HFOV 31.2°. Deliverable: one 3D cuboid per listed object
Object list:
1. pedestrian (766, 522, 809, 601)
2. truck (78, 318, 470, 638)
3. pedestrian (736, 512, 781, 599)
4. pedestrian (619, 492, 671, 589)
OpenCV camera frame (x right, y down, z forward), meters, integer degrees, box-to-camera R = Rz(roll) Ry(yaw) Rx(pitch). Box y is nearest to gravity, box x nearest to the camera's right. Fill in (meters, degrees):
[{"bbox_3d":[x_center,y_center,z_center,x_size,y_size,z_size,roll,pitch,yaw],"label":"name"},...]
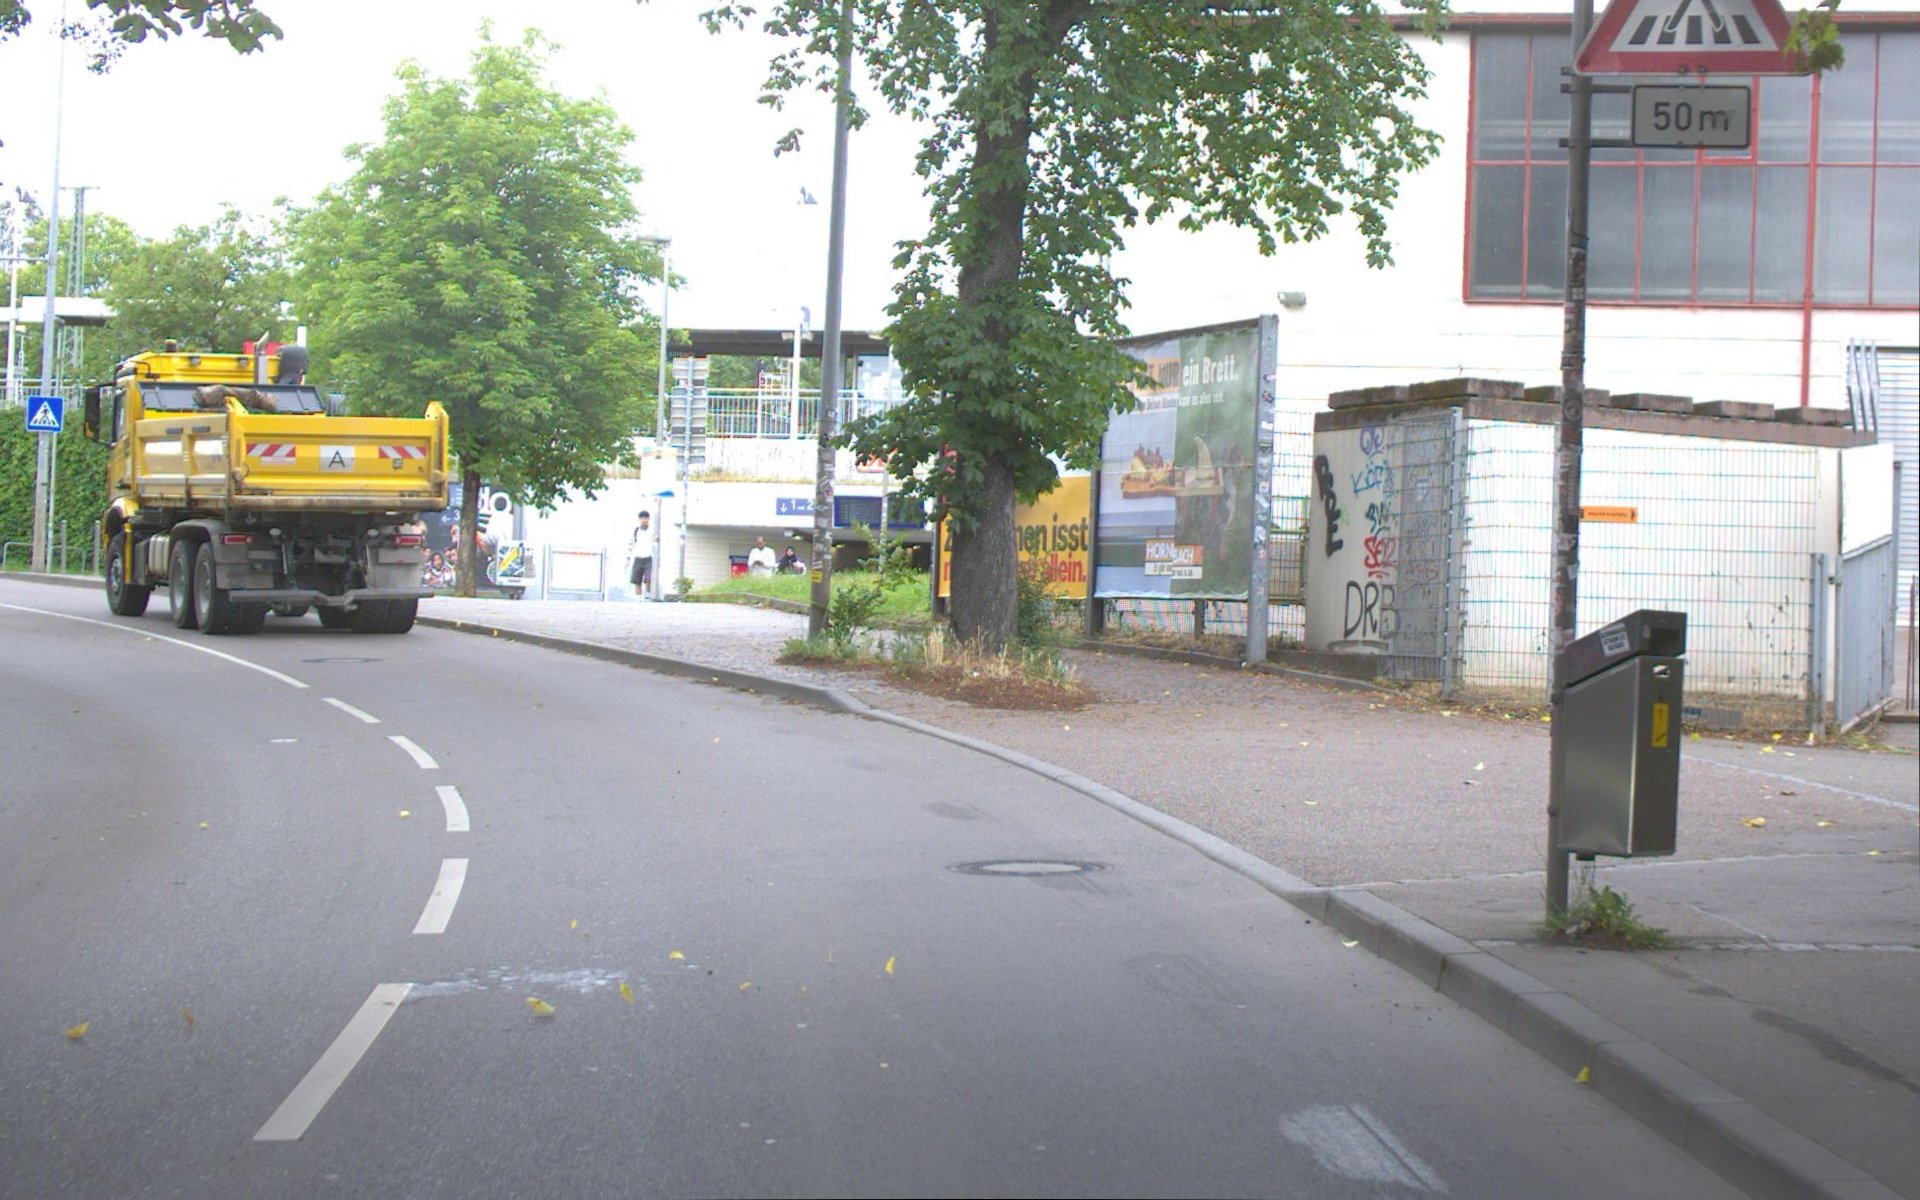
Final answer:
[{"bbox_3d":[-3.541,-0.783,70.558,0.799,1.578,0.802,2,-1,0],"label":"pedestrian"},{"bbox_3d":[-8.695,-1.590,42.685,2.764,3.471,8.132,3,2,-25],"label":"truck"},{"bbox_3d":[-4.037,-0.882,68.915,0.814,1.697,0.749,2,-1,0],"label":"pedestrian"},{"bbox_3d":[-5.558,-1.049,60.683,0.848,1.678,0.940,1,-1,-3],"label":"pedestrian"}]
